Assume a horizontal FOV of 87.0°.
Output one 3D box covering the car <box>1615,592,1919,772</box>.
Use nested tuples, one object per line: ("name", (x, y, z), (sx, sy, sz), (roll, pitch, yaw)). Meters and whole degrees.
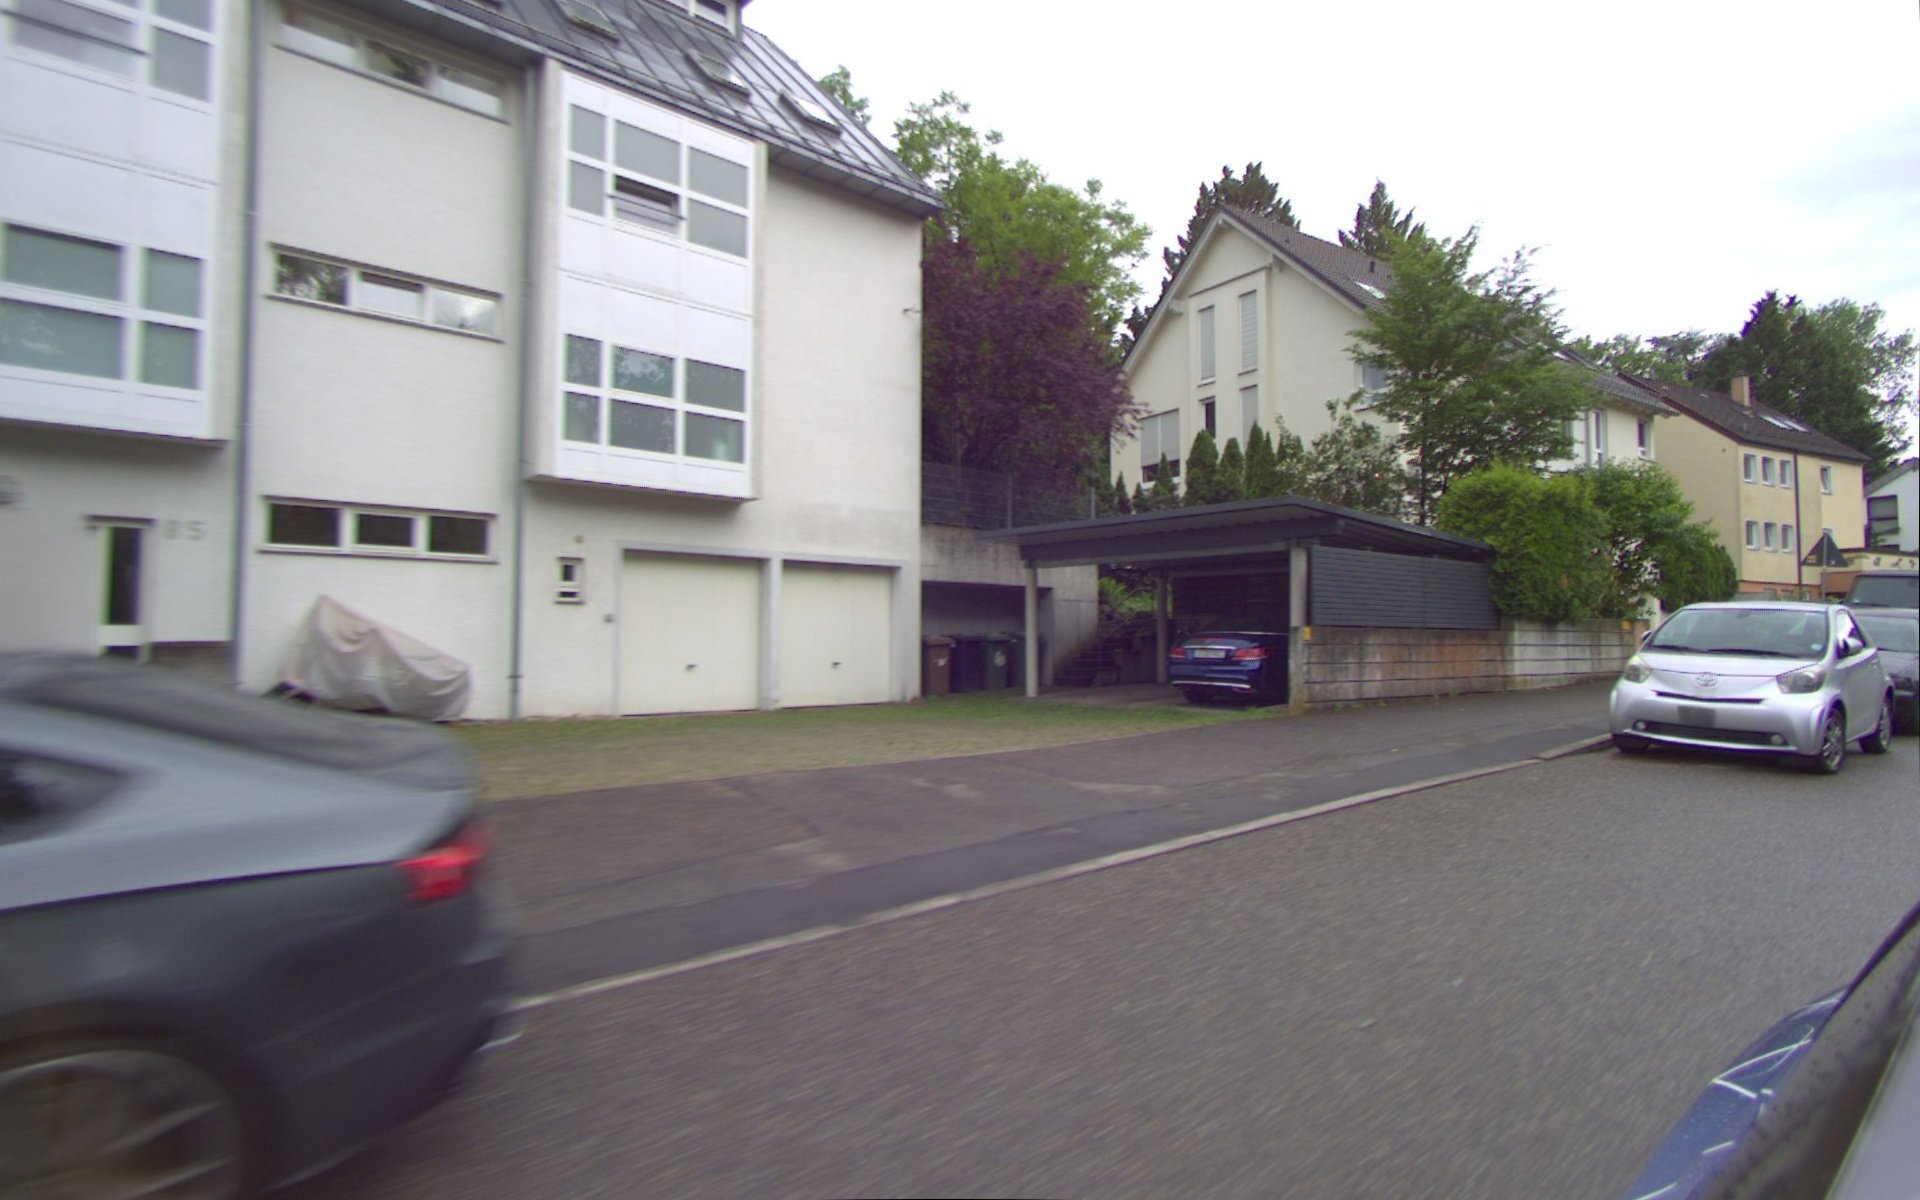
("car", (8.062, 0.663, 9.992), (3.323, 1.475, 1.677), (0, 0, -37))

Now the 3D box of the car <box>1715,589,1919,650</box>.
("car", (25.624, 0.625, 30.305), (1.954, 1.617, 4.340), (0, -3, -34))

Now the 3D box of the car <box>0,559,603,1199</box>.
("car", (-3.290, 0.655, 1.660), (4.754, 1.440, 1.934), (0, -1, -42))

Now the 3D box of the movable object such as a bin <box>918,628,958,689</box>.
("movable object such as a bin", (-0.388, 1.010, 17.731), (0.562, 1.036, 0.424), (0, -1, -40))

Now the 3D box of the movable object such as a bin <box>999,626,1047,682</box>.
("movable object such as a bin", (1.210, 1.018, 19.369), (0.661, 1.036, 0.644), (0, -1, -39))

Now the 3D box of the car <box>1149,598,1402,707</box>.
("car", (4.789, 0.719, 15.147), (3.929, 1.415, 1.737), (0, -3, -40))

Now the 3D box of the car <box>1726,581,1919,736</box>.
("car", (11.537, 0.593, 12.594), (4.311, 1.616, 1.939), (0, 2, -35))

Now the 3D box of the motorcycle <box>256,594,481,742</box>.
("motorcycle", (-6.393, 0.676, 11.014), (2.008, 1.470, 0.797), (0, -1, -41))

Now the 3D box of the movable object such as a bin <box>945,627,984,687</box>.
("movable object such as a bin", (0.077, 1.012, 18.173), (0.562, 1.036, 0.424), (0, -1, -40))

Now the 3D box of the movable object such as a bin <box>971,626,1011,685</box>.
("movable object such as a bin", (0.573, 1.015, 18.713), (0.562, 1.036, 0.505), (0, -1, -40))

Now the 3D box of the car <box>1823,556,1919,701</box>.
("car", (15.384, 0.393, 15.769), (4.866, 2.039, 1.999), (0, 1, -38))
